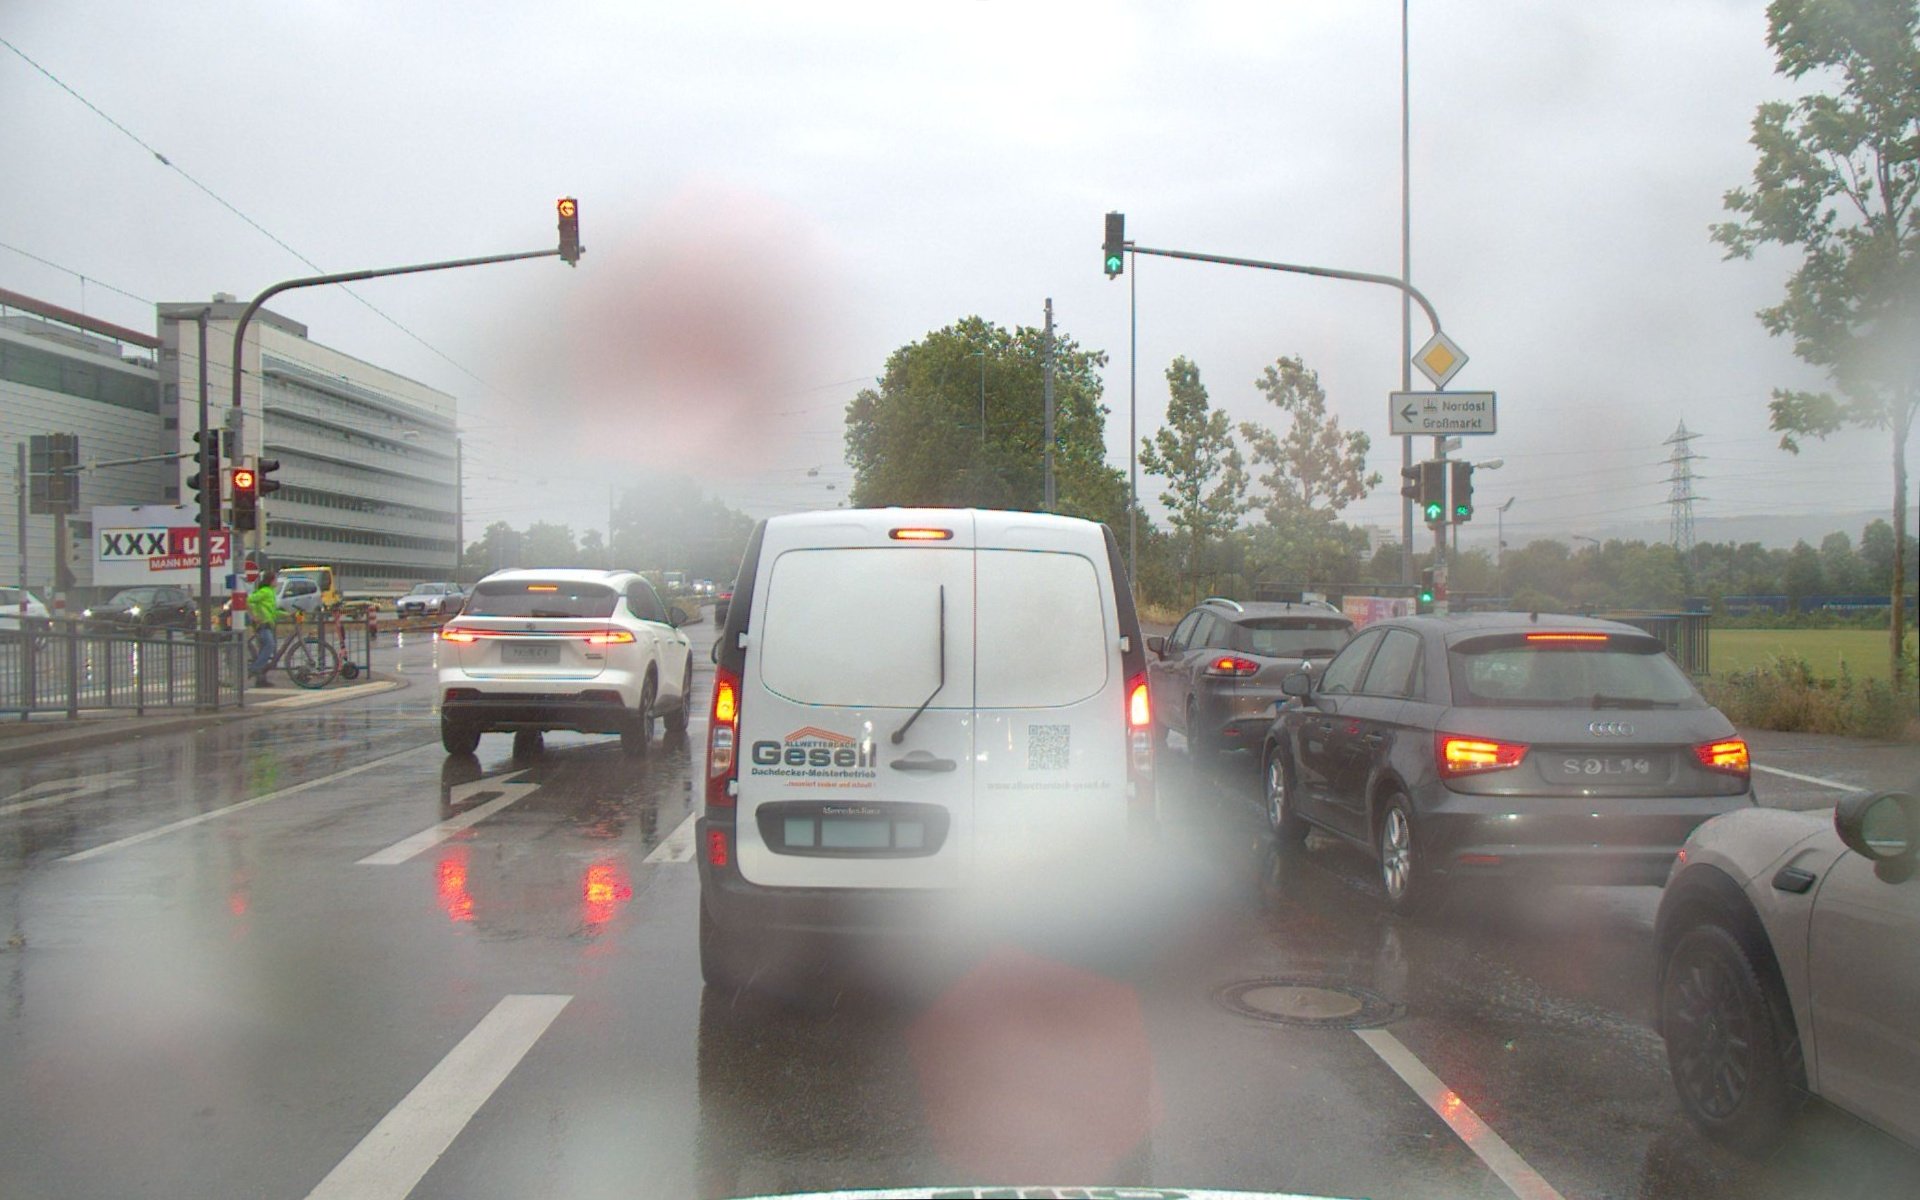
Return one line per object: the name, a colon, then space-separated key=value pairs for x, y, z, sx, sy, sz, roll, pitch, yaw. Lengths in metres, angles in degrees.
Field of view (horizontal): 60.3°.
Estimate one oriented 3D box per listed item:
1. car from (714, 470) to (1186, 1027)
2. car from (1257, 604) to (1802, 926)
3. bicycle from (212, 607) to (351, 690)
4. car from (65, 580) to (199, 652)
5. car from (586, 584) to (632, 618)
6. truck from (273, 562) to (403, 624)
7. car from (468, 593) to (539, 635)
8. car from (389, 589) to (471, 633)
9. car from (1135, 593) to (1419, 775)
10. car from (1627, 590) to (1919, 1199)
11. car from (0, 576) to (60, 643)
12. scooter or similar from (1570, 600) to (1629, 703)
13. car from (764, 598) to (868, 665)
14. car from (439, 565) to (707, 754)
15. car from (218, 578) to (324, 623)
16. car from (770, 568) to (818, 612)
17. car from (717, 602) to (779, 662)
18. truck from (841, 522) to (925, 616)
car: x=-0.057 y=0.492 z=7.428 sx=1.534 sy=1.819 sz=3.999 roll=0 pitch=0 yaw=-1
car: x=2.793 y=0.721 z=8.953 sx=1.596 sy=1.368 sz=3.622 roll=1 pitch=0 yaw=-2
bicycle: x=-9.587 y=0.679 z=23.394 sx=1.716 sy=1.052 sz=0.414 roll=4 pitch=-1 yaw=-3
car: x=-25.414 y=0.543 z=50.895 sx=1.952 sy=1.937 sz=4.000 roll=-3 pitch=-3 yaw=2
car: x=-21.927 y=0.062 z=103.510 sx=1.952 sy=2.049 sz=4.000 roll=1 pitch=0 yaw=1
truck: x=-24.853 y=-0.239 z=66.475 sx=2.303 sy=2.319 sz=7.632 roll=1 pitch=0 yaw=0
car: x=-21.079 y=0.647 z=76.519 sx=1.889 sy=1.859 sz=4.002 roll=1 pitch=0 yaw=4
car: x=-21.825 y=0.463 z=68.260 sx=1.853 sy=1.729 sz=4.001 roll=1 pitch=0 yaw=3
car: x=2.832 y=0.690 z=15.599 sx=1.822 sy=1.453 sz=3.806 roll=1 pitch=1 yaw=-2
car: x=2.923 y=0.760 z=3.226 sx=1.679 sy=1.534 sz=3.622 roll=1 pitch=0 yaw=-2
car: x=-22.527 y=0.196 z=37.692 sx=1.662 sy=1.518 sz=3.878 roll=1 pitch=0 yaw=5
scooter or similar: x=7.603 y=0.595 z=19.678 sx=0.240 sy=1.178 sz=1.186 roll=1 pitch=0 yaw=1
car: x=-3.798 y=0.814 z=44.184 sx=1.580 sy=1.689 sz=4.083 roll=1 pitch=0 yaw=13
car: x=-3.589 y=0.480 z=16.080 sx=1.694 sy=1.562 sz=4.296 roll=1 pitch=1 yaw=-2
car: x=-21.892 y=0.027 z=52.720 sx=1.554 sy=1.359 sz=3.832 roll=1 pitch=-1 yaw=4
car: x=-7.793 y=-0.452 z=77.908 sx=1.954 sy=1.892 sz=3.998 roll=-3 pitch=-1 yaw=-2
car: x=-7.063 y=1.037 z=55.180 sx=1.956 sy=1.892 sz=3.994 roll=1 pitch=0 yaw=-7
truck: x=-2.607 y=-0.948 z=54.848 sx=2.580 sy=2.865 sz=7.140 roll=1 pitch=0 yaw=-4
